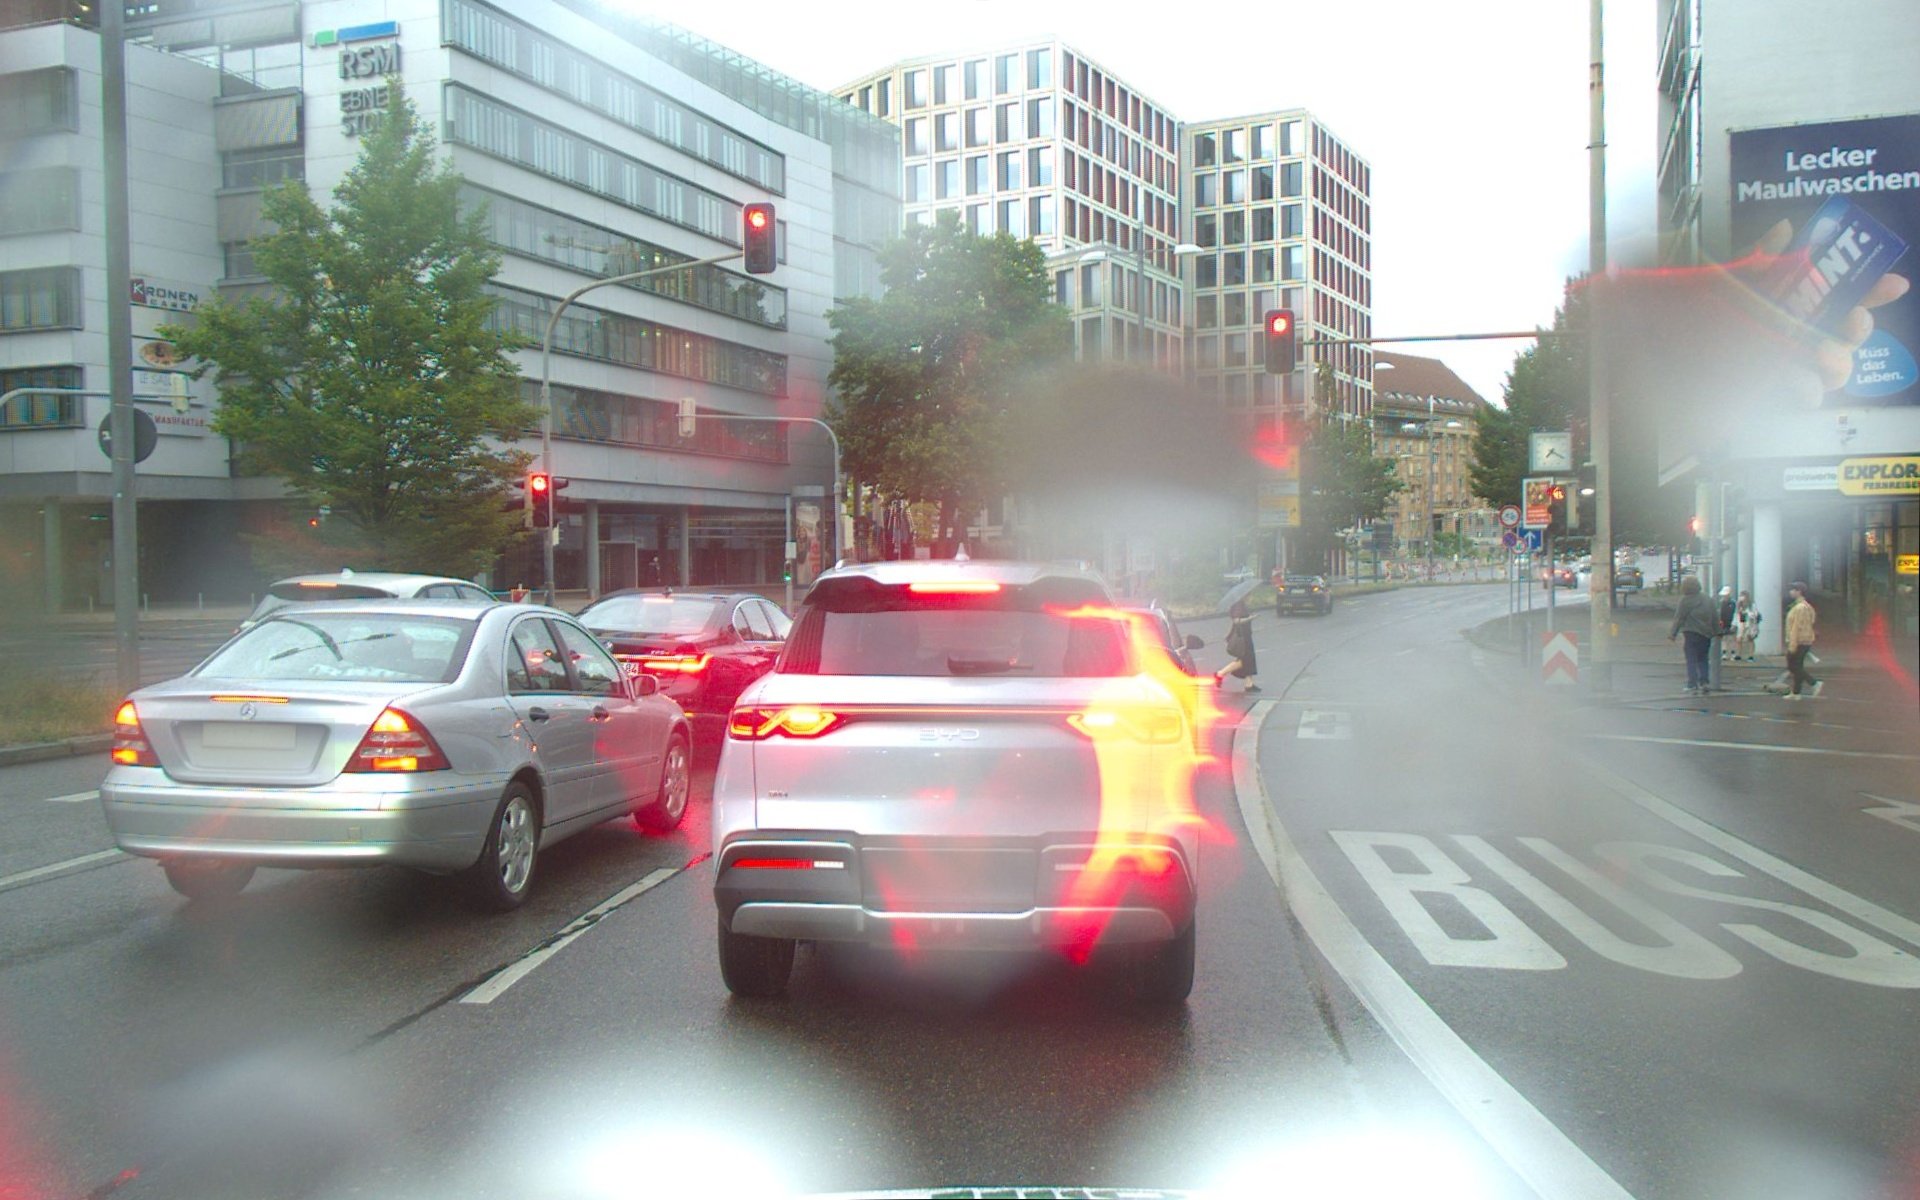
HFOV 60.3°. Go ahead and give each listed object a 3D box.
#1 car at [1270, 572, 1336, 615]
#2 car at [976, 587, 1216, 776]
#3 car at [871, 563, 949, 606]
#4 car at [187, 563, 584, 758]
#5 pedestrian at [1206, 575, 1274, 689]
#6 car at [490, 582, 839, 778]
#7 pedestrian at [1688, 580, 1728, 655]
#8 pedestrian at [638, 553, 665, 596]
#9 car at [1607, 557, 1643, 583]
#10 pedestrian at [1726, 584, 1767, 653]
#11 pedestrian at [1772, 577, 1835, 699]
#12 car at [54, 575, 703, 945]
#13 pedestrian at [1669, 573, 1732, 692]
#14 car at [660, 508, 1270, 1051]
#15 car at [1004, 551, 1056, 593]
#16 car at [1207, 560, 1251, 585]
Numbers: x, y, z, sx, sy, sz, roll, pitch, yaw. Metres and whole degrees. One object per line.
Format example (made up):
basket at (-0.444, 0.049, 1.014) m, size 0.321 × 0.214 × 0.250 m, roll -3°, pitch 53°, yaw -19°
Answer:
car at (13.366, -0.272, 64.276) m, size 1.952 × 1.579 × 4.001 m, roll 1°, pitch 1°, yaw 19°
car at (1.439, 0.660, 15.901) m, size 1.913 × 1.557 × 4.004 m, roll 0°, pitch 0°, yaw 10°
car at (-2.131, -0.721, 71.685) m, size 1.953 × 1.735 × 4.000 m, roll 1°, pitch 2°, yaw 22°
car at (-5.318, 0.485, 15.934) m, size 1.844 × 1.624 × 4.004 m, roll 0°, pitch 1°, yaw 11°
pedestrian at (4.402, 0.497, 26.075) m, size 0.904 × 1.768 × 0.729 m, roll 0°, pitch 0°, yaw -6°
car at (-2.550, 0.617, 15.341) m, size 1.913 × 1.557 × 4.004 m, roll 0°, pitch 0°, yaw 10°
pedestrian at (17.013, 0.394, 37.645) m, size 0.712 × 1.698 × 0.691 m, roll 0°, pitch -1°, yaw 15°
pedestrian at (-12.651, -1.029, 67.931) m, size 0.712 × 1.757 × 0.925 m, roll 0°, pitch 0°, yaw 21°
car at (48.639, -2.157, 120.900) m, size 2.007 × 1.796 × 4.351 m, roll 2°, pitch 1°, yaw 27°
pedestrian at (17.697, 0.415, 37.234) m, size 0.712 × 1.551 × 0.760 m, roll 0°, pitch -1°, yaw 15°
pedestrian at (12.803, 0.560, 25.132) m, size 0.712 × 1.830 × 0.740 m, roll 0°, pitch 0°, yaw 15°
car at (-2.744, 0.632, 8.926) m, size 1.646 × 1.512 × 4.200 m, roll 0°, pitch 1°, yaw 6°
pedestrian at (11.530, 0.492, 25.779) m, size 0.795 × 1.830 × 0.711 m, roll 0°, pitch 0°, yaw 15°
car at (0.085, 0.551, 7.559) m, size 1.952 × 1.739 × 4.484 m, roll 0°, pitch 1°, yaw 2°
car at (3.871, -1.497, 90.499) m, size 1.700 × 2.199 × 4.496 m, roll 1°, pitch 0°, yaw 17°
car at (19.507, -2.021, 119.851) m, size 1.954 × 1.735 × 4.305 m, roll 1°, pitch 2°, yaw 26°
